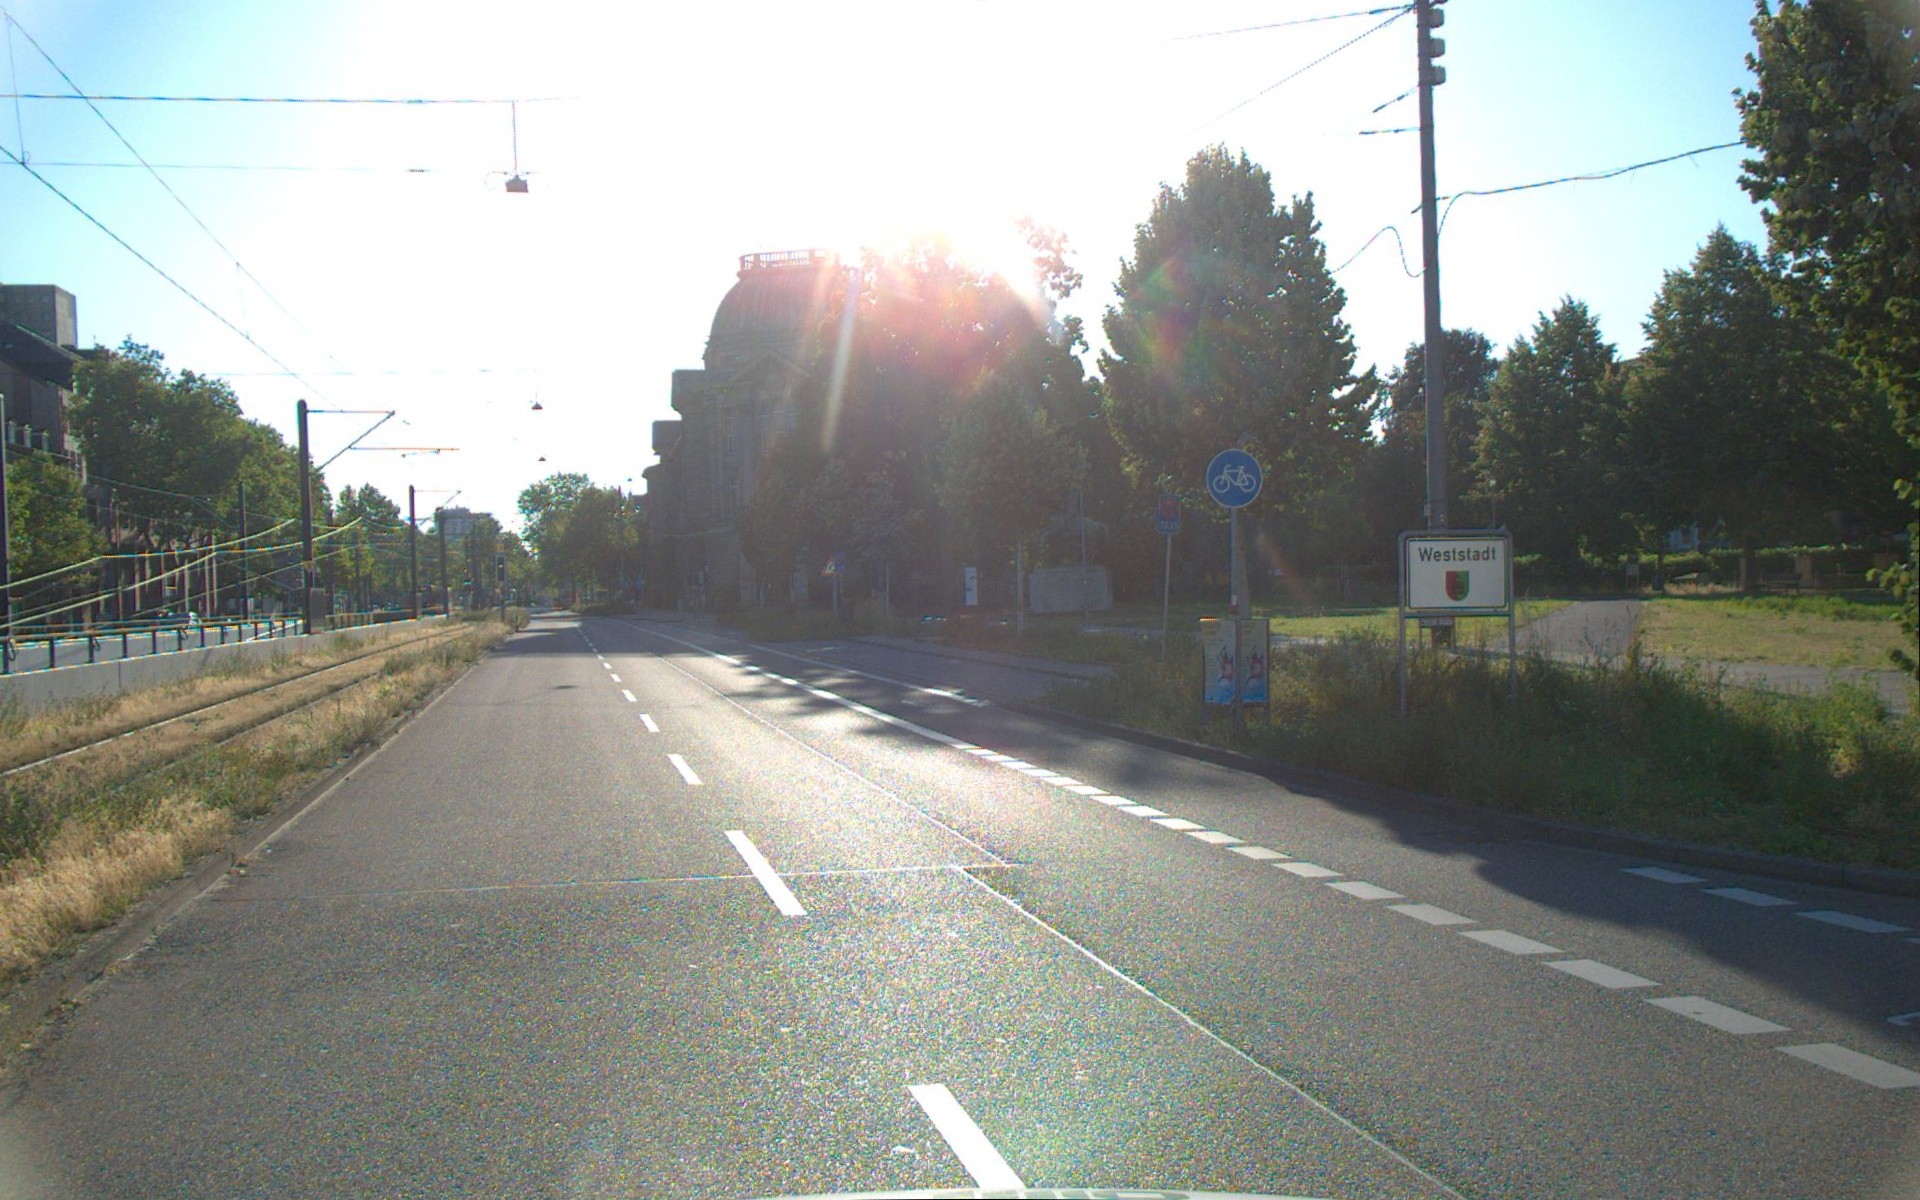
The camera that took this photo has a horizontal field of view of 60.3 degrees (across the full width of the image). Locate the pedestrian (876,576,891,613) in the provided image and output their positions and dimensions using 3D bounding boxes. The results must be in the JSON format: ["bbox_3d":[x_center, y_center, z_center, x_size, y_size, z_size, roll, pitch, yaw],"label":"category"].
[{"bbox_3d":[-3.894,-0.277,83.815,0.671,1.854,0.534,-2,0,-9],"label":"pedestrian"}]

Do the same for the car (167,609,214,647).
[{"bbox_3d":[-44.338,1.611,95.379,1.963,2.049,3.979,-2,0,-18],"label":"car"}]

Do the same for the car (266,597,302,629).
[{"bbox_3d":[-46.674,0.887,114.218,1.963,2.049,3.979,-2,0,-18],"label":"car"}]

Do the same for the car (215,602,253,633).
[{"bbox_3d":[-55.730,1.299,126.995,1.960,2.283,3.986,-2,1,-14],"label":"car"}]

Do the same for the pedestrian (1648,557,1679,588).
[{"bbox_3d":[28.323,-1.101,66.614,0.797,1.208,0.842,-2,0,-14],"label":"pedestrian"}]
